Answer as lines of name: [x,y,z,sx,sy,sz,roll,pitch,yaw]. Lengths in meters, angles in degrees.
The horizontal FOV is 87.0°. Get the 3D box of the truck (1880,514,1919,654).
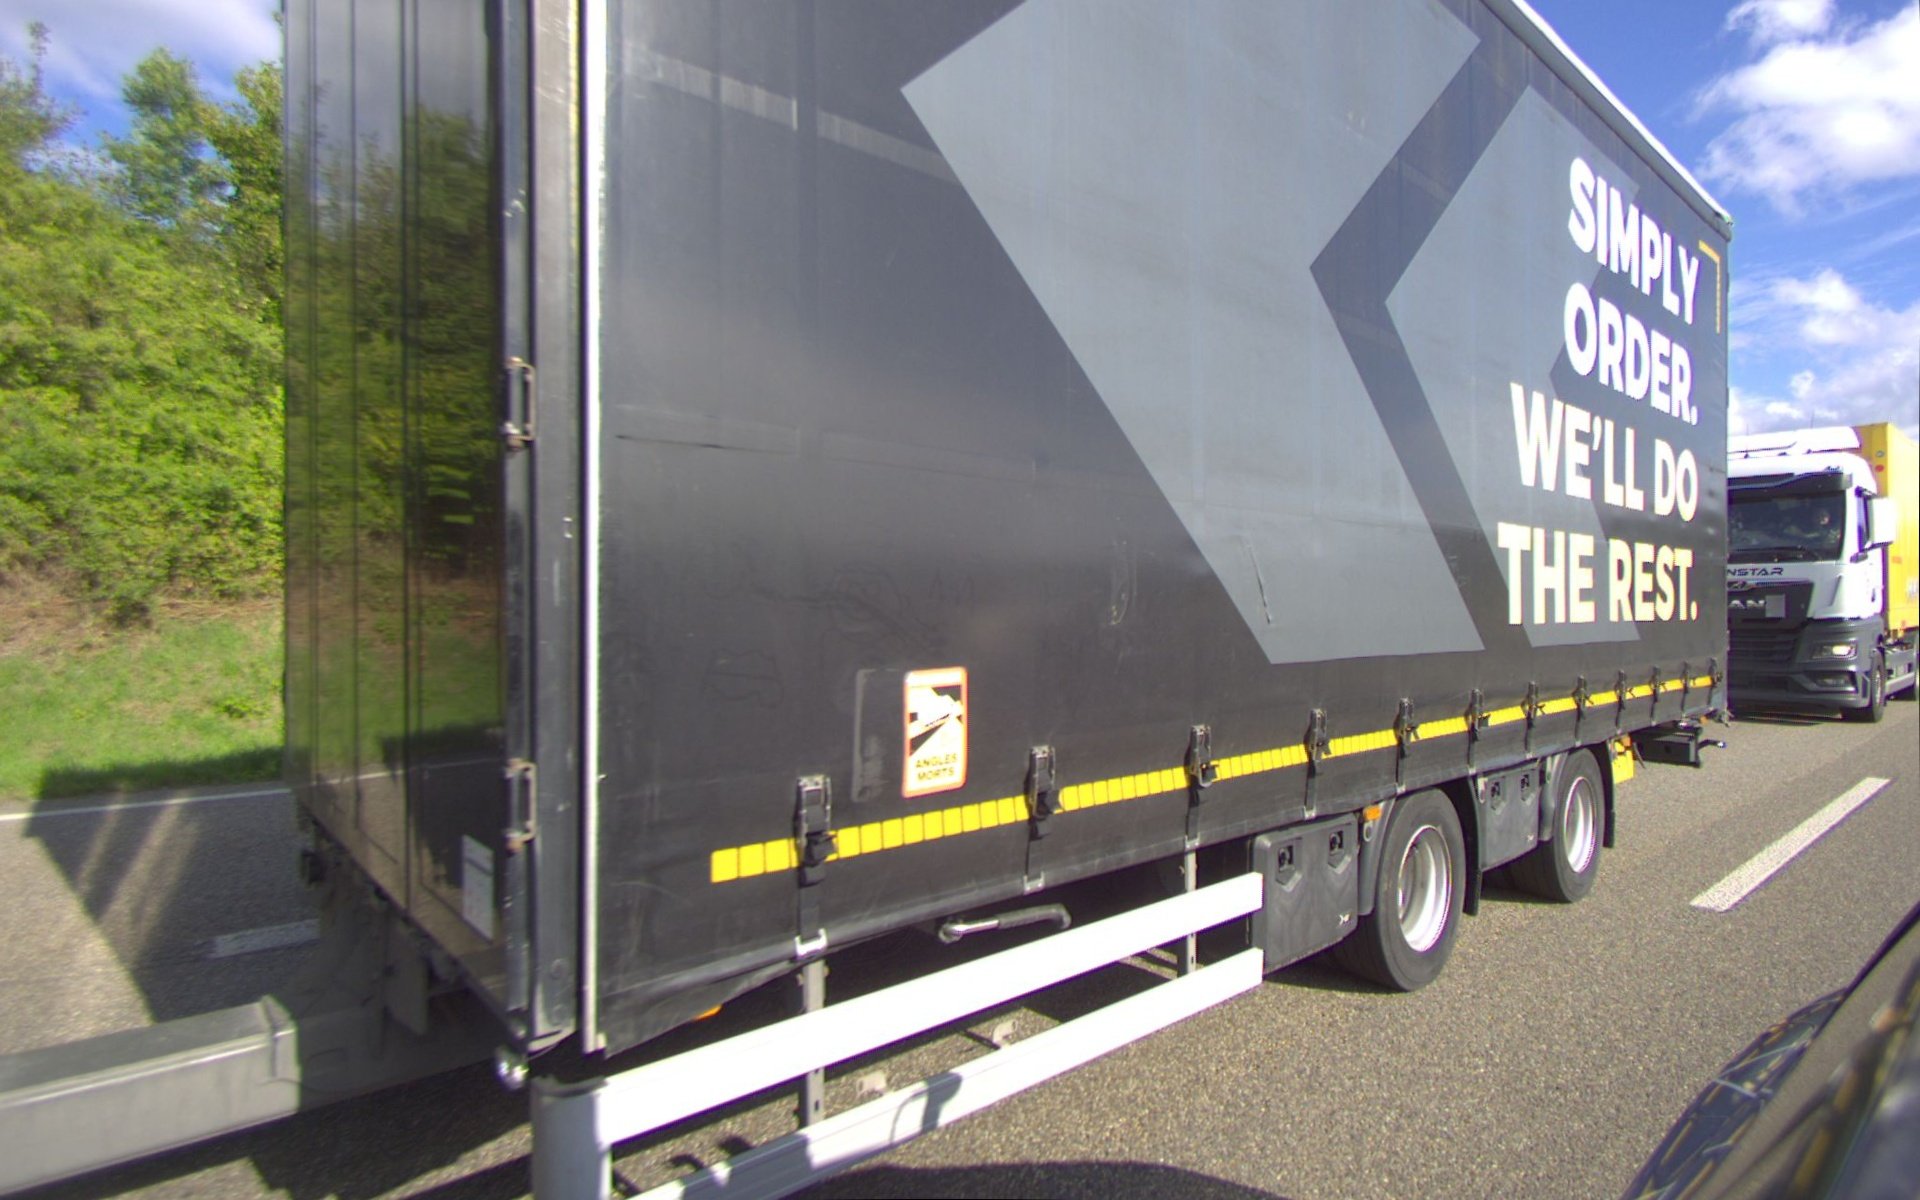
truck: [31.252,-0.496,31.673,6.375,4.142,2.653,0,-1,-39]

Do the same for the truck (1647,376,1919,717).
truck: [13.928,-0.615,16.257,9.496,4.121,2.415,0,-2,-41]

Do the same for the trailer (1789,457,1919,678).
trailer: [20.798,-0.581,22.302,8.771,4.121,2.415,0,-2,-41]

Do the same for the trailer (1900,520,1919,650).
trailer: [36.507,-0.507,35.975,13.729,4.150,2.647,0,-1,-39]

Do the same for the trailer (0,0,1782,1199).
trailer: [1.196,-0.609,4.805,8.558,4.012,2.720,1,-2,-41]
